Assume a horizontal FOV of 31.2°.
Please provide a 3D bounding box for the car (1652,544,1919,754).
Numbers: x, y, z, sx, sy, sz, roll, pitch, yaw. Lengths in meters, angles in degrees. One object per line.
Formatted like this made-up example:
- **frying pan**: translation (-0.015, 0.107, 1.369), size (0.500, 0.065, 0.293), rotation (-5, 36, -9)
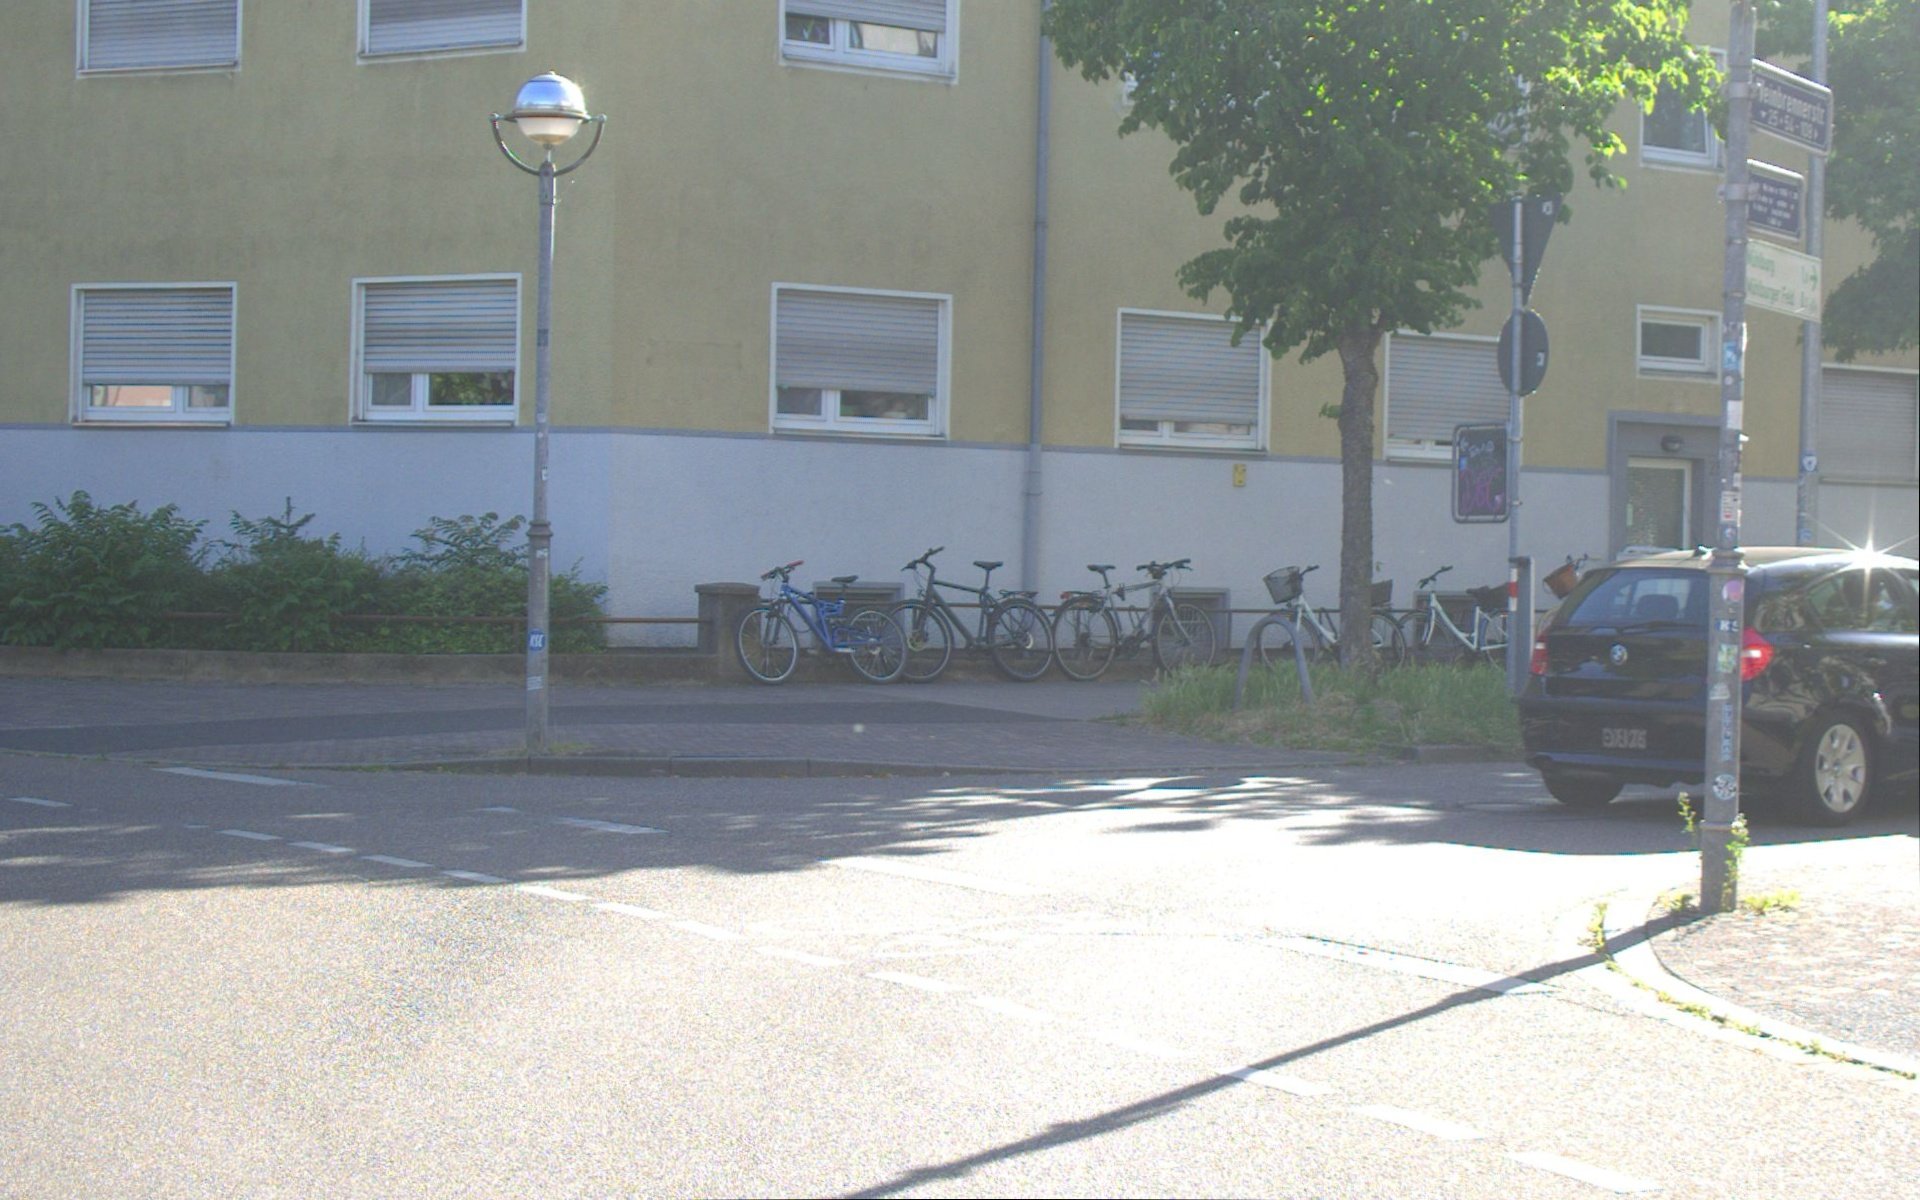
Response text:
- **car**: translation (7.096, 0.342, 25.327), size (3.988, 1.406, 1.803), rotation (1, 1, -40)

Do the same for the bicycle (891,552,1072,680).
- **bicycle**: translation (0.173, 0.133, 28.570), size (1.445, 1.023, 0.500), rotation (1, 1, -5)

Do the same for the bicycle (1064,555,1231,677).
- **bicycle**: translation (1.615, 0.135, 29.544), size (1.445, 1.023, 0.500), rotation (0, 1, -38)

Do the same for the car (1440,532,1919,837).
- **car**: translation (4.612, 0.400, 18.446), size (3.989, 1.414, 1.870), rotation (0, 2, -42)

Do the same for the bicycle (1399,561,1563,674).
- **bicycle**: translation (4.843, 0.165, 31.935), size (1.445, 1.023, 0.500), rotation (1, 1, -25)

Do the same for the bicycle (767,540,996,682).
- **bicycle**: translation (-0.643, 0.088, 27.759), size (1.794, 1.104, 0.500), rotation (1, 1, -5)

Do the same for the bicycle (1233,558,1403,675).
- **bicycle**: translation (3.209, 0.152, 30.814), size (1.445, 1.023, 0.500), rotation (1, 1, -25)
